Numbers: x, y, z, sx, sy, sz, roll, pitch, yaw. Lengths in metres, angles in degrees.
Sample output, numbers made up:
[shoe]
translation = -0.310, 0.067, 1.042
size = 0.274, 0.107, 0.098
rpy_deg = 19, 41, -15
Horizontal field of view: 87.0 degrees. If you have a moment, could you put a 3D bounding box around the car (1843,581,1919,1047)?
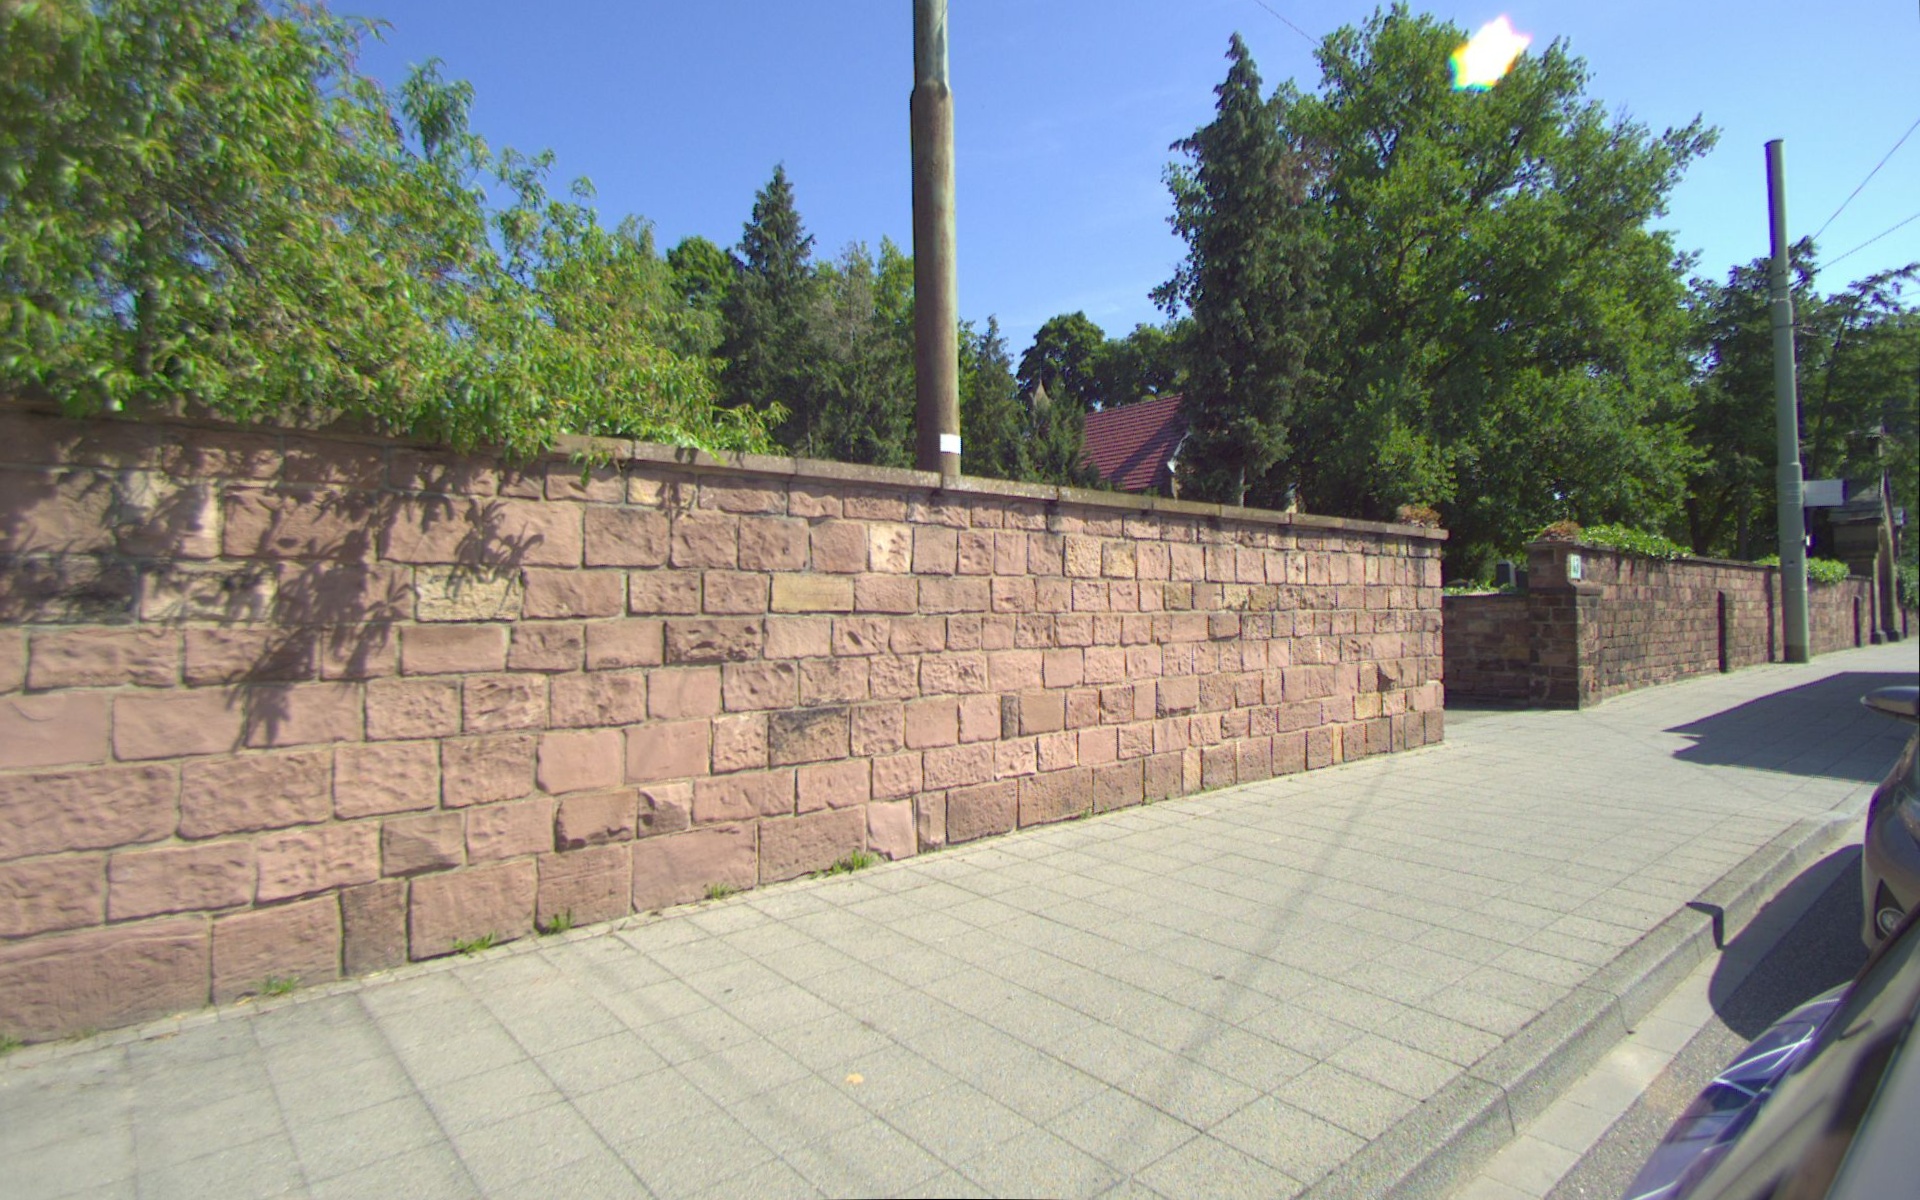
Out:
[car]
translation = 5.090, 0.668, 4.063
size = 4.384, 1.450, 1.741
rpy_deg = 0, 1, -41
